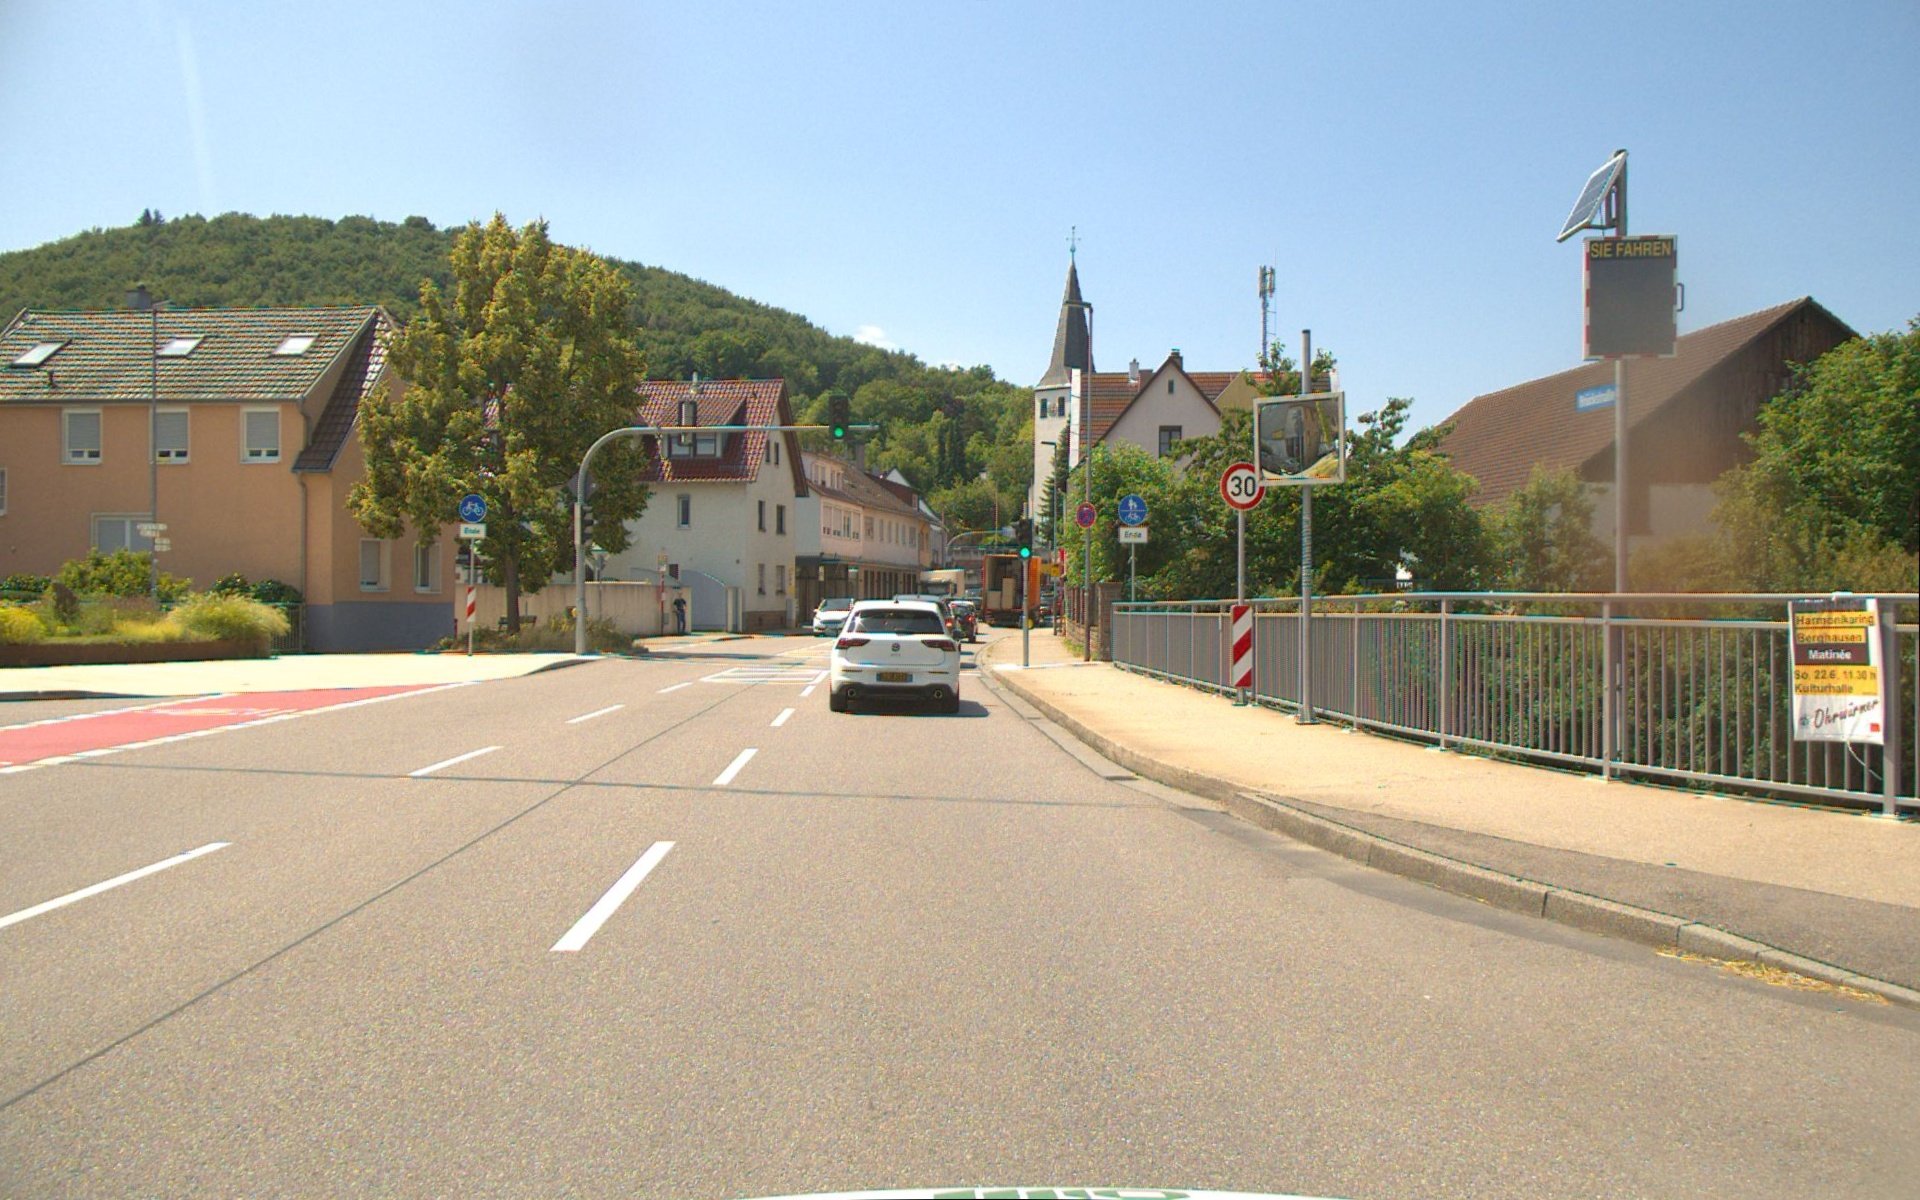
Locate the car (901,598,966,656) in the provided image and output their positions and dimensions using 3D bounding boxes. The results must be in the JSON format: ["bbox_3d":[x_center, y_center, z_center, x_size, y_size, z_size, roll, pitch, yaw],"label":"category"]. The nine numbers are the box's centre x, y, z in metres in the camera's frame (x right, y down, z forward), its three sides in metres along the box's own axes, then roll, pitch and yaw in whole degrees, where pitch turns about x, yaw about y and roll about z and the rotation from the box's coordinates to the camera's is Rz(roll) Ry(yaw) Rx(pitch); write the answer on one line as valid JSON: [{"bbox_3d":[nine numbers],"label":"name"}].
[{"bbox_3d":[-0.764,0.799,50.192,1.777,1.657,4.001,-1,-1,2],"label":"car"}]

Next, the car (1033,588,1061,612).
[{"bbox_3d":[5.821,0.014,110.883,1.777,1.545,4.001,-1,-1,2],"label":"car"}]

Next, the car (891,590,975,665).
[{"bbox_3d":[-0.592,0.641,39.188,1.777,1.657,4.001,-1,-1,2],"label":"car"}]

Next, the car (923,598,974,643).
[{"bbox_3d":[-0.405,0.778,62.957,1.777,1.657,4.001,-1,-1,2],"label":"car"}]

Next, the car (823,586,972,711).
[{"bbox_3d":[-0.782,0.643,23.041,1.777,1.545,4.001,1,-1,2],"label":"car"}]

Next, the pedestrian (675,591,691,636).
[{"bbox_3d":[-11.063,0.545,66.117,0.425,1.795,0.557,0,0,20],"label":"pedestrian"}]

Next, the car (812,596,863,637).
[{"bbox_3d":[-5.283,0.721,71.622,1.777,1.678,4.001,1,-1,2],"label":"car"}]

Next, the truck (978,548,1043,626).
[{"bbox_3d":[3.015,-0.689,95.830,3.296,4.243,9.523,-1,-1,4],"label":"truck"}]

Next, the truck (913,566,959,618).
[{"bbox_3d":[-1.537,-0.461,109.332,2.449,3.292,6.043,-1,-1,5],"label":"truck"}]

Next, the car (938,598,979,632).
[{"bbox_3d":[-0.051,0.696,77.609,1.777,1.545,4.001,-1,-1,2],"label":"car"}]

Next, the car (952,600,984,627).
[{"bbox_3d":[0.493,0.826,99.968,1.777,1.545,4.001,-1,-1,2],"label":"car"}]
